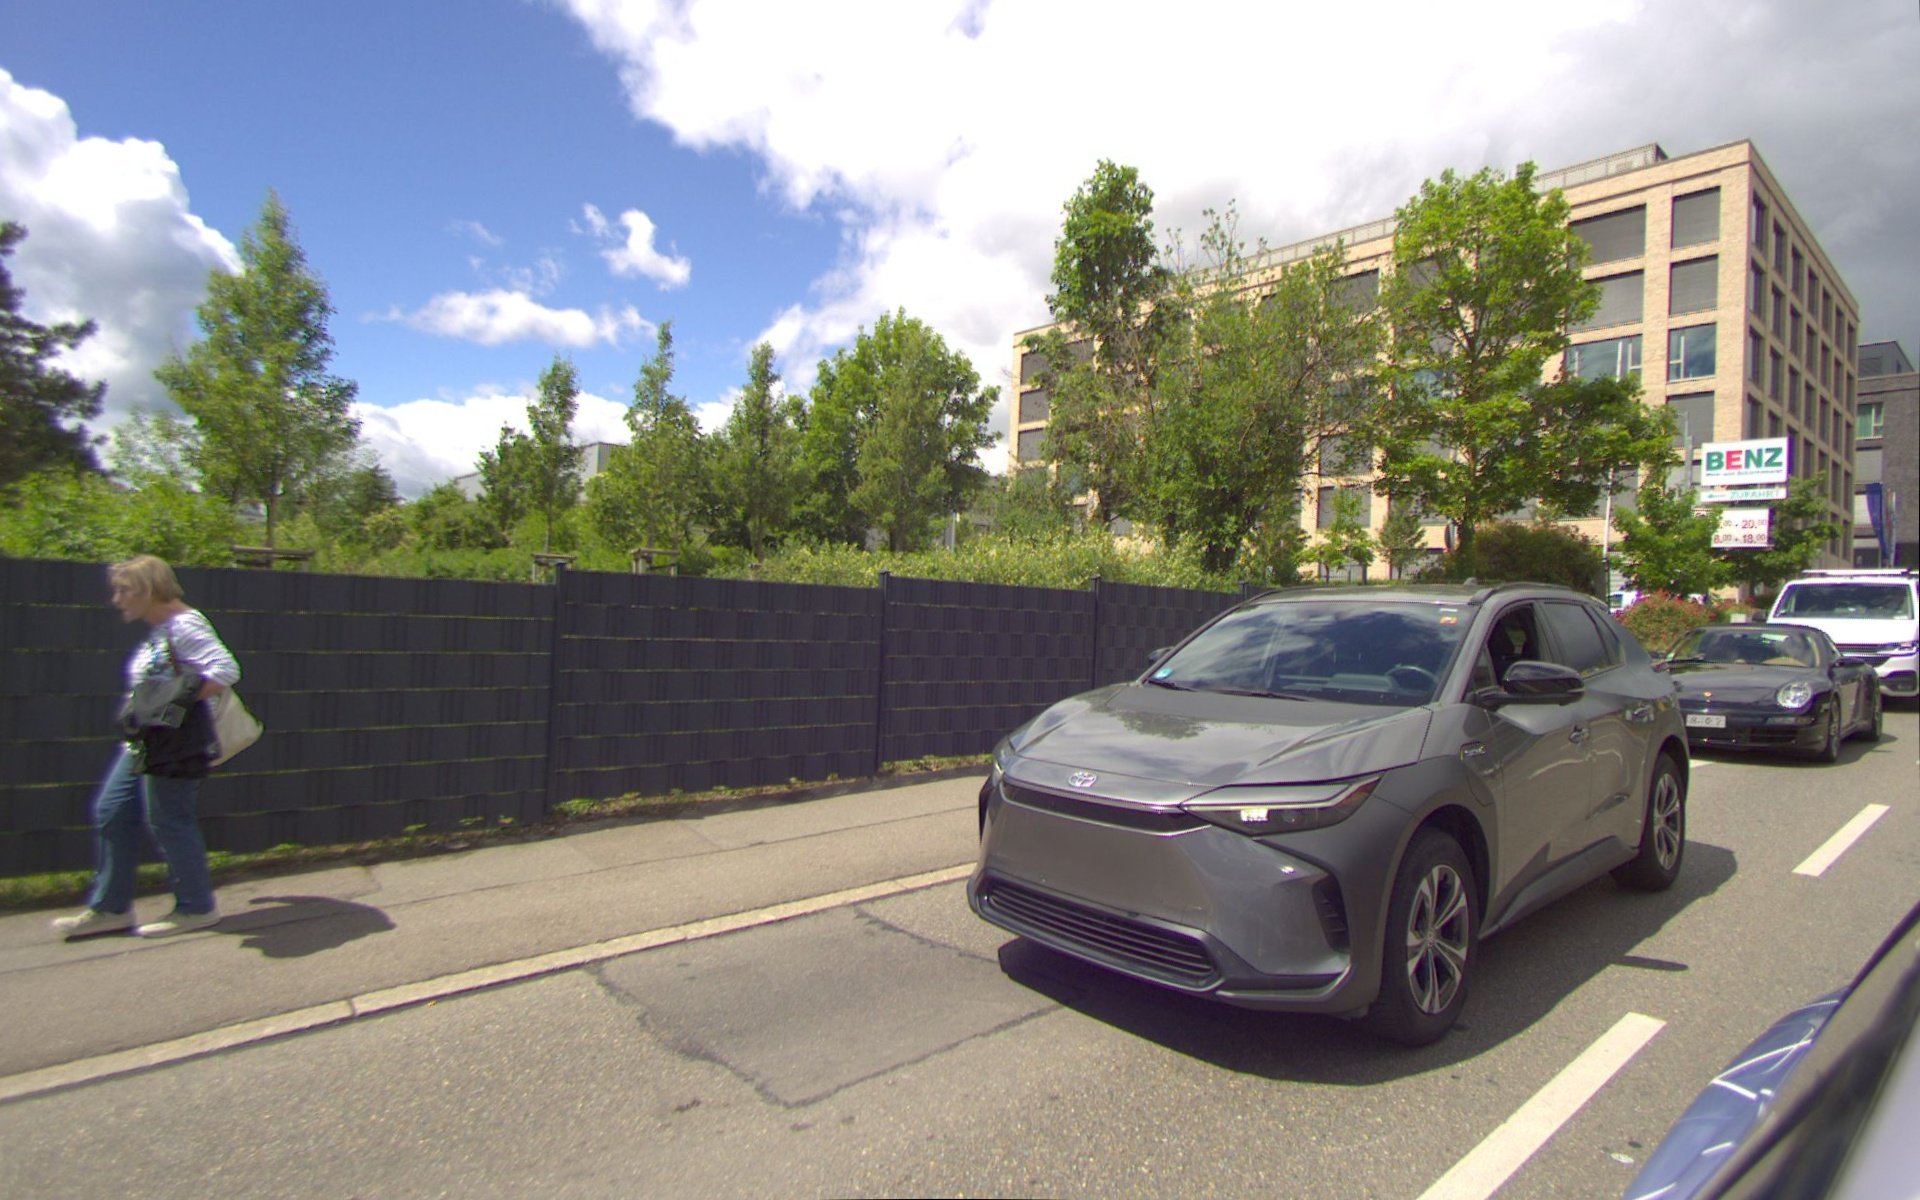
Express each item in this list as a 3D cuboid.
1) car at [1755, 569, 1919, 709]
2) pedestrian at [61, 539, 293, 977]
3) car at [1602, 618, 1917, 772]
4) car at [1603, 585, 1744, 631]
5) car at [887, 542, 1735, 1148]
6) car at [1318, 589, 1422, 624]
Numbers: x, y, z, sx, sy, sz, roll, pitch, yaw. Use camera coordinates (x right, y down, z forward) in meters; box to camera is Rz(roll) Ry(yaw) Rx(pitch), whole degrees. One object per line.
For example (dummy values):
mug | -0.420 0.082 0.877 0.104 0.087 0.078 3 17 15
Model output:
car | 14.071 0.534 15.645 4.563 1.874 1.962 1 -1 -41
pedestrian | -3.248 0.554 4.199 0.700 1.581 0.861 0 2 -41
car | 8.700 0.852 10.866 4.487 1.290 1.776 0 -1 -40
car | 27.573 0.288 39.214 1.707 1.596 4.211 1 1 -44
car | 2.051 0.679 4.989 4.601 1.634 1.922 1 -1 -41
car | 19.326 0.284 47.801 1.705 1.436 4.215 1 1 -41
